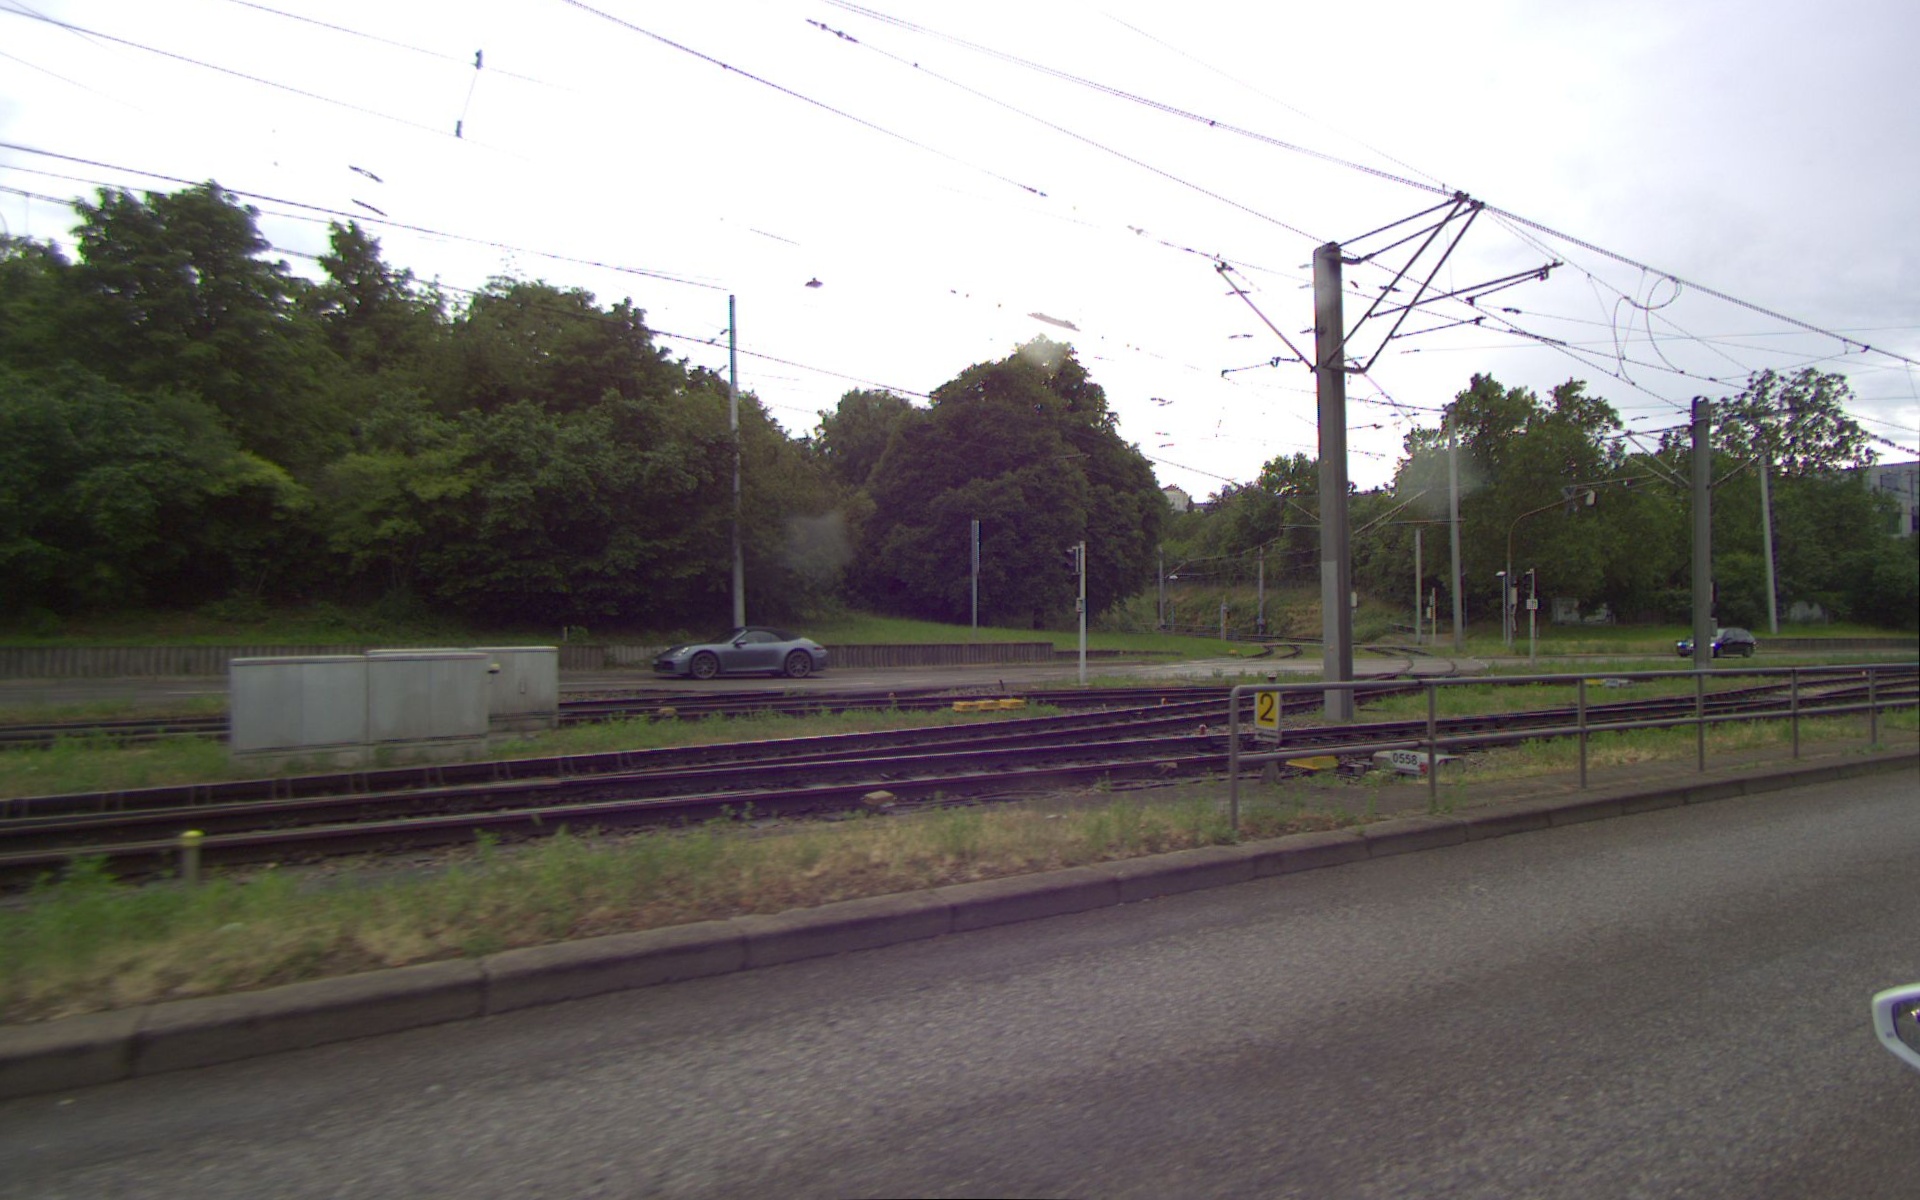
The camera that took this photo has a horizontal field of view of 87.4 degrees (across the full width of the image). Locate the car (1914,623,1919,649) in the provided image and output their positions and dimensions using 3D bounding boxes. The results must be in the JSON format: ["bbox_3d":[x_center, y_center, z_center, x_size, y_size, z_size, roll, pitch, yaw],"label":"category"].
[{"bbox_3d":[61.546,2.247,62.228,5.093,1.610,2.081,1,-1,-28],"label":"car"}]

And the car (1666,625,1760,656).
[{"bbox_3d":[37.418,1.980,49.913,4.621,1.466,1.920,1,-1,-27],"label":"car"}]

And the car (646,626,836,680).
[{"bbox_3d":[-5.586,1.313,25.783,4.422,1.278,1.917,1,-1,-31],"label":"car"}]
